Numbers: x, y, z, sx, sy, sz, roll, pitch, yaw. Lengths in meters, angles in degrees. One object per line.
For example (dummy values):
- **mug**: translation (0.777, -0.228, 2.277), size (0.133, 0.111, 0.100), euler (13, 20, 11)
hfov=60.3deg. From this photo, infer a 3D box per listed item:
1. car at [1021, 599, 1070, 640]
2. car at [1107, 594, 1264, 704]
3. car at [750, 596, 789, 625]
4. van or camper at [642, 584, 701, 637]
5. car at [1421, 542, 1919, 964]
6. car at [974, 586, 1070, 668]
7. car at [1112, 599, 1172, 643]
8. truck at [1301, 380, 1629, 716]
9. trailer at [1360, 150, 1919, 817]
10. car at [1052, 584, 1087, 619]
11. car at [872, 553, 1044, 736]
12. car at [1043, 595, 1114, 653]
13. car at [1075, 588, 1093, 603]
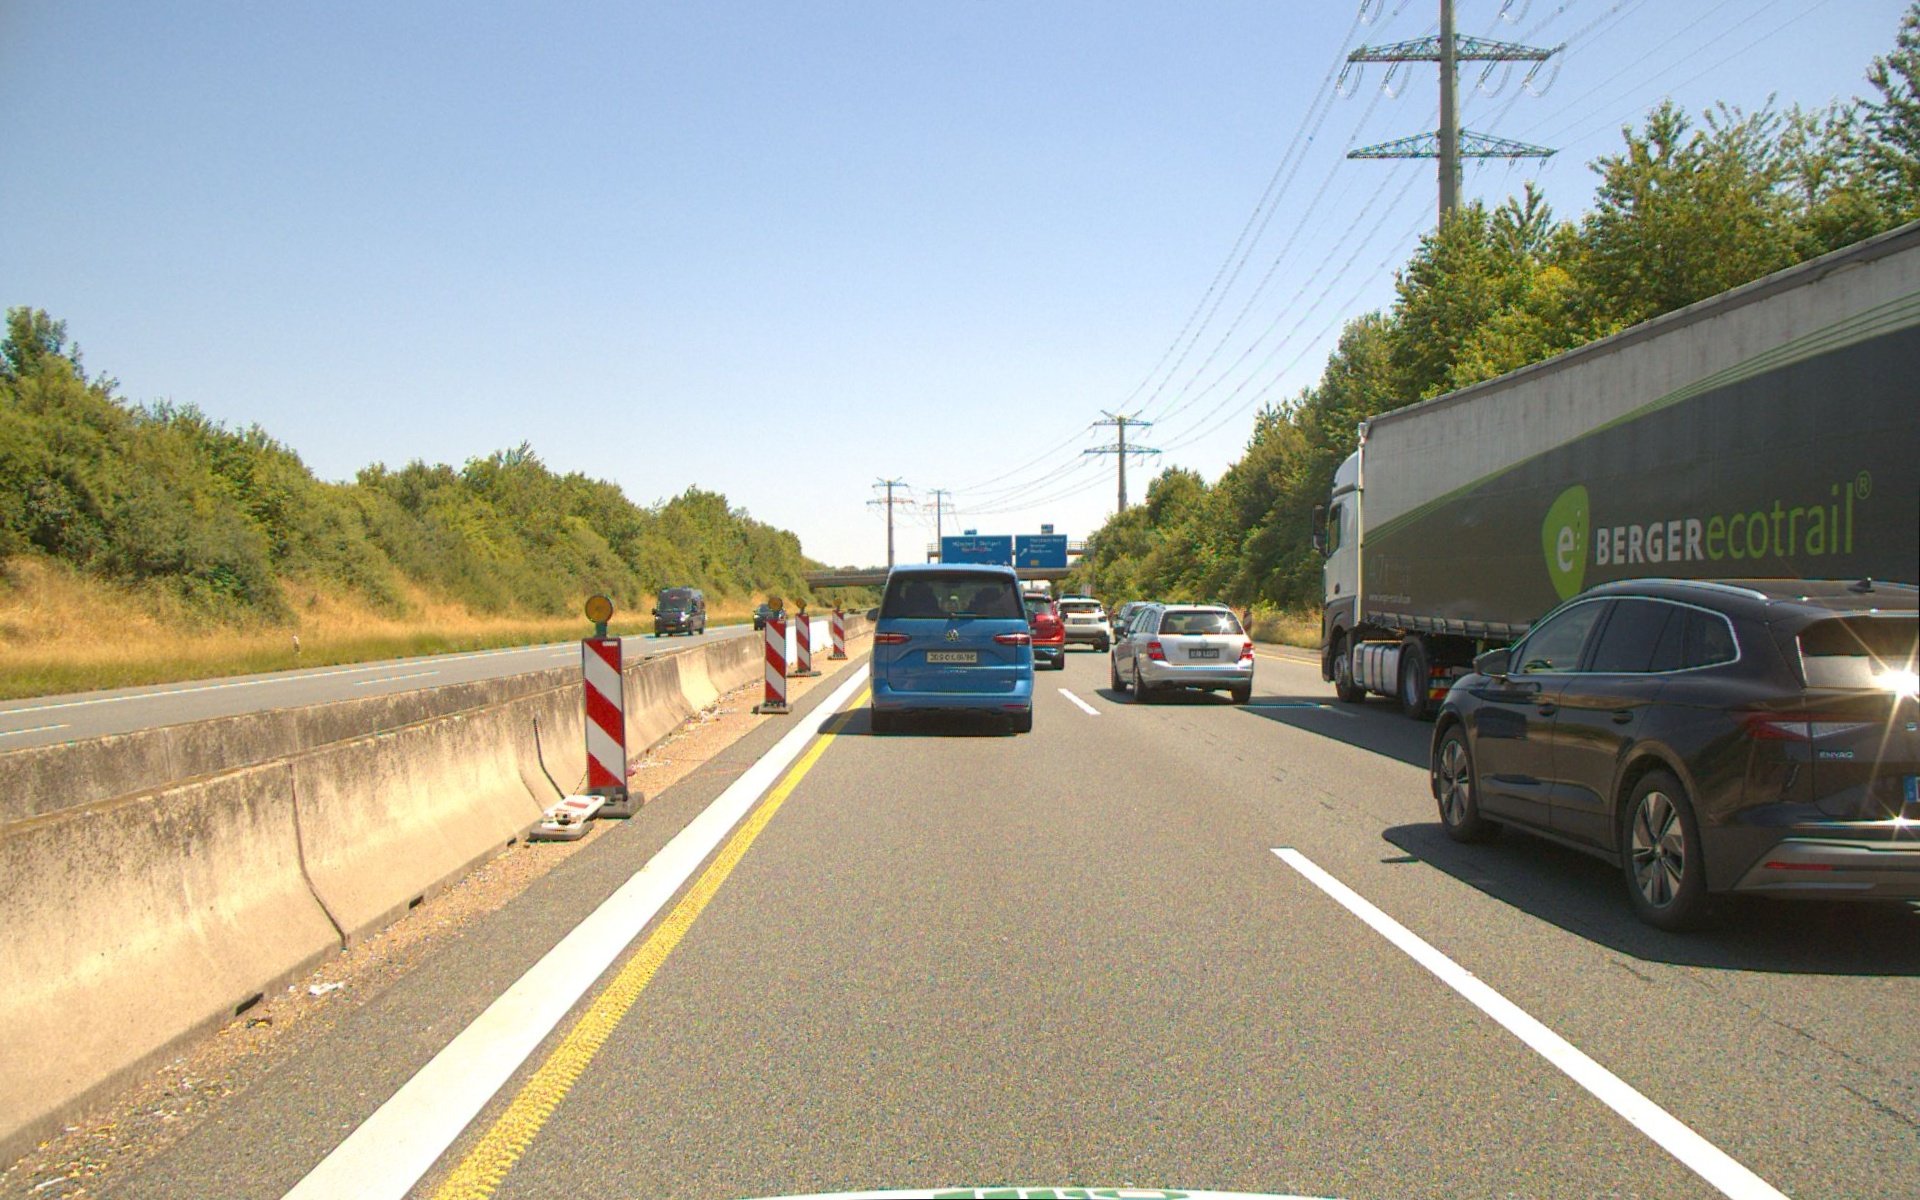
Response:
- **car**: translation (3.537, 0.803, 68.879), size (1.761, 1.622, 4.226), euler (1, 0, -1)
- **car**: translation (3.440, 0.712, 26.005), size (1.735, 1.544, 4.358), euler (1, 0, -2)
- **car**: translation (-11.772, 0.636, 102.620), size (1.953, 1.713, 4.152), euler (-3, 0, -1)
- **van or camper**: translation (-15.943, 0.573, 91.767), size (2.178, 2.758, 7.078), euler (-3, 0, -2)
- **car**: translation (3.991, 0.630, 8.864), size (1.666, 1.684, 4.428), euler (1, 0, -2)
- **car**: translation (1.331, 0.581, 36.997), size (1.837, 1.700, 4.358), euler (1, 0, -2)
- **car**: translation (6.456, 0.731, 59.007), size (1.666, 1.473, 3.787), euler (1, 0, -1)
- **truck**: translation (6.873, -0.630, 23.425), size (2.678, 4.118, 5.791), euler (1, 0, -2)
- **trailer**: translation (7.095, -0.685, 16.275), size (2.727, 4.118, 13.107), euler (1, 0, -2)
- **car**: translation (6.649, 0.121, 100.719), size (1.761, 2.049, 4.226), euler (1, 0, -1)
- **car**: translation (-0.081, 0.493, 20.125), size (1.837, 1.945, 4.358), euler (1, 0, -2)
- **car**: translation (3.522, 0.694, 49.738), size (1.761, 1.622, 4.226), euler (1, 0, -1)
- **car**: translation (15.120, -0.554, 201.816), size (1.837, 1.700, 4.358), euler (1, 0, -2)
